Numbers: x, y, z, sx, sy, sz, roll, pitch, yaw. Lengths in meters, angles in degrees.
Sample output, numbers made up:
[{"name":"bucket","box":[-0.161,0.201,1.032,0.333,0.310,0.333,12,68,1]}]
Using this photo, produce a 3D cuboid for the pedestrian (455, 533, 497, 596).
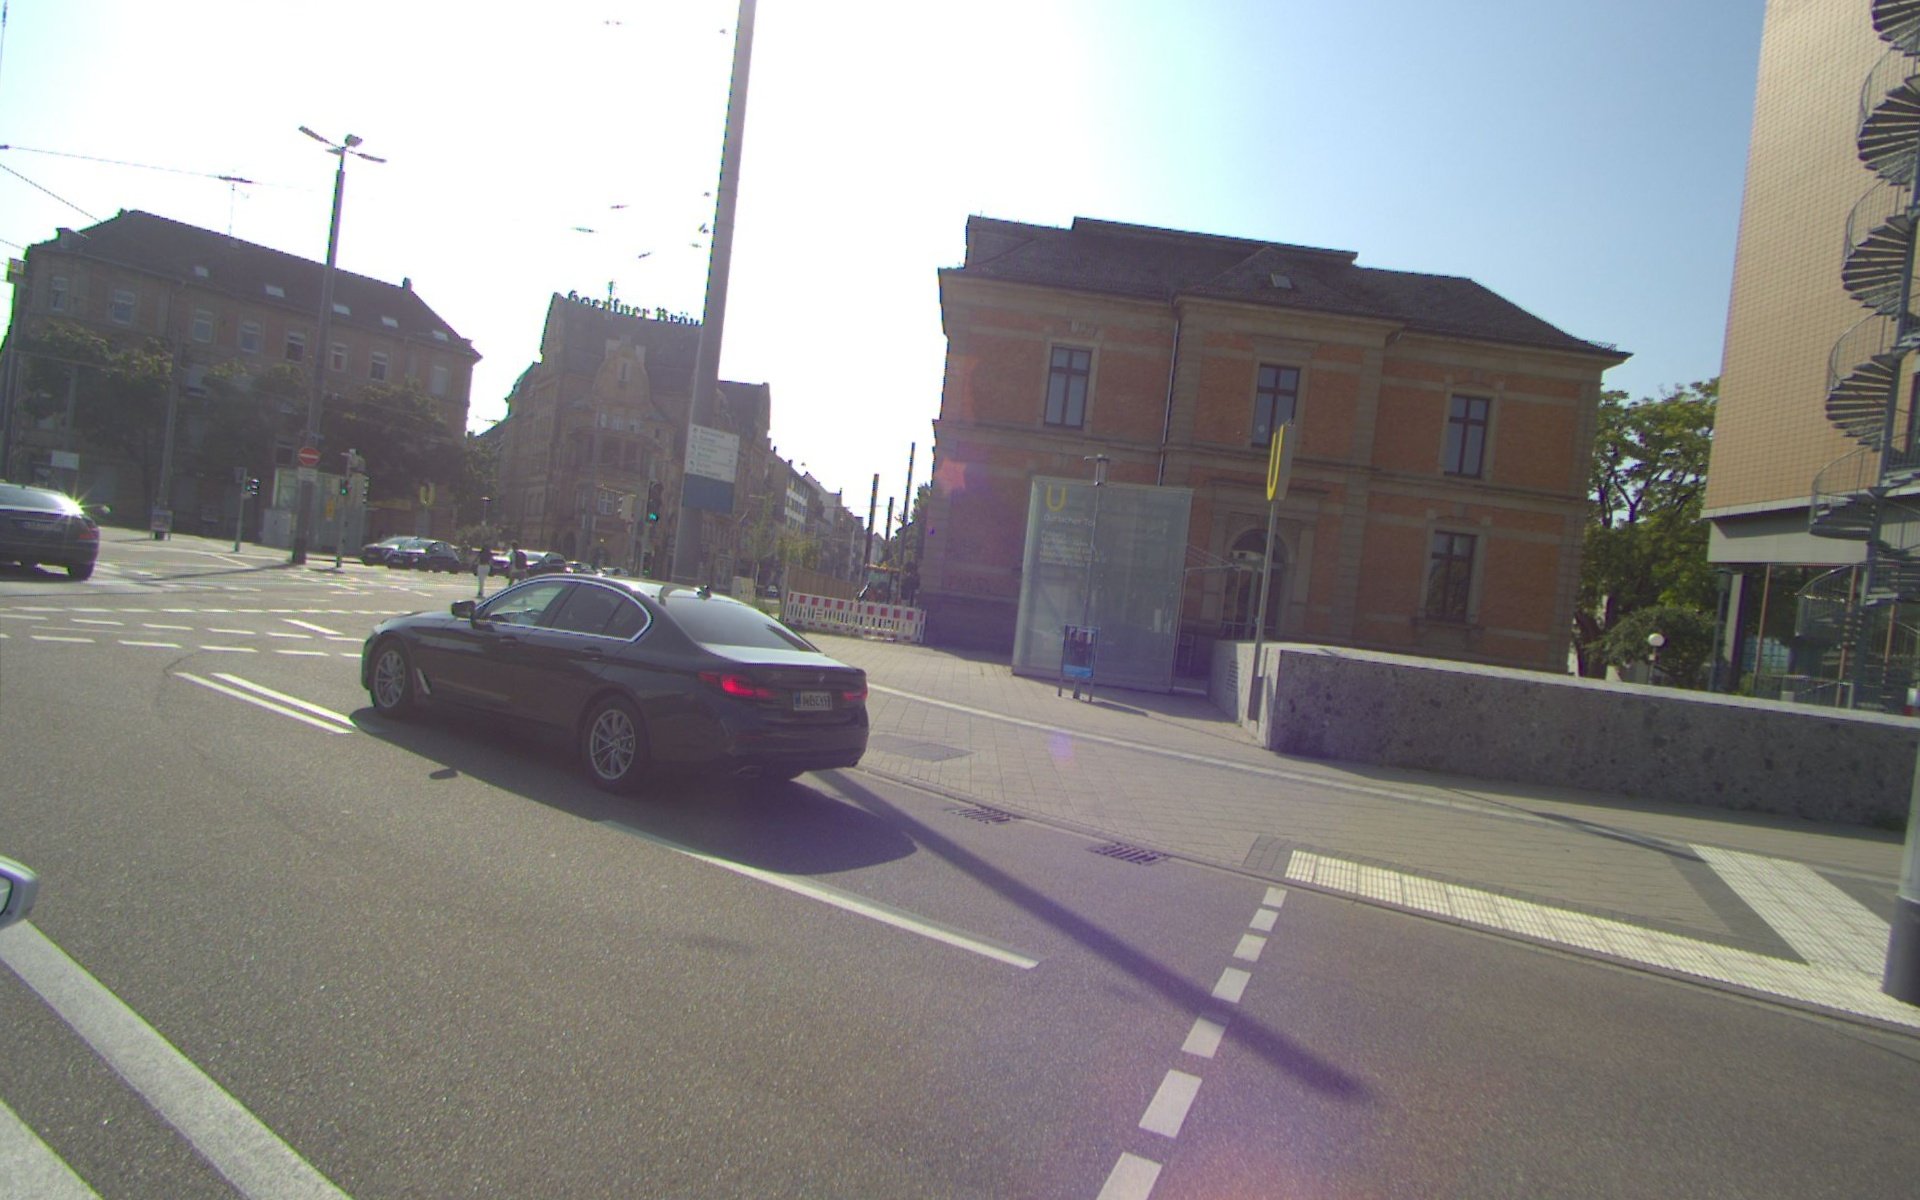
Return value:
[{"name":"pedestrian","box":[-14.080,-1.030,29.278,0.911,1.711,0.833,7,0,-24]}]

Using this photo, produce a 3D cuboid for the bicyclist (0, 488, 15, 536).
[{"name":"bicyclist","box":[-38.259,-3.532,39.600,1.072,1.822,0.937,7,1,5]}]

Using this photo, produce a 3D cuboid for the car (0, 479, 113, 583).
[{"name":"car","box":[-16.096,-1.277,16.954,4.304,1.460,1.683,7,0,35]}]

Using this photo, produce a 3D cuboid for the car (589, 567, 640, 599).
[{"name":"car","box":[-24.178,-1.135,70.478,1.896,1.881,4.115,7,-1,1]}]

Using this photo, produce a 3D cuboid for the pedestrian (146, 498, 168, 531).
[{"name":"pedestrian","box":[-39.437,-4.200,49.412,0.538,1.489,0.666,6,1,-15]}]

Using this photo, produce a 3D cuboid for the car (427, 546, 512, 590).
[{"name":"car","box":[-26.210,-1.665,53.950,1.874,1.881,4.711,7,-1,3]}]

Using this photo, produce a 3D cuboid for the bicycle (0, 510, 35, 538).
[{"name":"bicycle","box":[-38.310,-3.108,39.624,1.072,0.976,2.628,7,0,5]}]

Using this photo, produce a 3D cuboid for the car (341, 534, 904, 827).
[{"name":"car","box":[-2.884,0.493,8.172,4.596,1.509,1.685,7,-1,32]}]

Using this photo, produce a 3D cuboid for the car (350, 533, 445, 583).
[{"name":"car","box":[-26.593,-1.936,47.722,1.874,1.881,4.251,7,-1,1]}]

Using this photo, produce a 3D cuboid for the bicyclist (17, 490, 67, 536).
[{"name":"bicyclist","box":[-38.495,-3.632,42.202,1.072,1.701,0.937,7,1,5]}]

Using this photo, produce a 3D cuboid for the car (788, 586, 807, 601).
[{"name":"car","box":[-23.994,-0.993,148.526,1.896,1.881,4.115,7,-1,1]}]

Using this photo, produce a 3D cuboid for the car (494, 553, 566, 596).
[{"name":"car","box":[-23.010,-1.331,53.981,1.875,1.881,4.069,7,-1,1]}]

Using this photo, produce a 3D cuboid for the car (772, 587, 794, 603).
[{"name":"car","box":[-24.282,-0.637,138.073,1.896,1.881,4.115,7,-1,1]}]

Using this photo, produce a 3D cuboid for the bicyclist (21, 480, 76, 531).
[{"name":"bicyclist","box":[-34.547,-3.562,38.152,1.074,1.729,0.935,7,1,-8]}]

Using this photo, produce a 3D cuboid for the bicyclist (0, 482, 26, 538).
[{"name":"bicyclist","box":[-36.491,-3.457,38.138,1.074,2.049,0.935,7,1,-8]}]

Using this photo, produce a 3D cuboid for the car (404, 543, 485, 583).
[{"name":"car","box":[-30.652,-2.156,59.960,1.895,1.881,4.276,7,-1,12]}]

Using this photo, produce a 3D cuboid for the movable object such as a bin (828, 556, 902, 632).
[{"name":"movable object such as a bin","box":[-3.658,-0.207,40.188,2.409,2.472,7.974,7,0,-4]}]

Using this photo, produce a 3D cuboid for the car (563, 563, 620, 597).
[{"name":"car","box":[-23.993,-1.267,65.711,1.941,1.881,4.138,7,-1,1]}]

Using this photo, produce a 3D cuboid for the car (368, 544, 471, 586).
[{"name":"car","box":[-23.755,-1.503,44.419,1.986,1.414,4.389,7,-1,1]}]

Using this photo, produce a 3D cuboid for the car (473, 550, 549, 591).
[{"name":"car","box":[-25.667,-1.648,57.687,2.007,1.881,4.666,7,-1,1]}]

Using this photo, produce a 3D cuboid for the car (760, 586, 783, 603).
[{"name":"car","box":[-24.388,-0.656,130.154,1.896,1.881,4.115,7,-1,1]}]

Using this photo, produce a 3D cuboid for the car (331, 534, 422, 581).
[{"name":"car","box":[-29.573,-2.121,51.161,1.919,1.881,4.274,7,-1,1]}]

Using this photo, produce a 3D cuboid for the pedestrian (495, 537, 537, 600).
[{"name":"pedestrian","box":[-12.951,-0.924,29.367,0.910,1.711,0.920,7,0,-21]}]

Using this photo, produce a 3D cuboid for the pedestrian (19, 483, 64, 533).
[{"name":"pedestrian","box":[-36.712,-3.668,40.238,0.846,1.819,0.926,6,1,-12]}]
